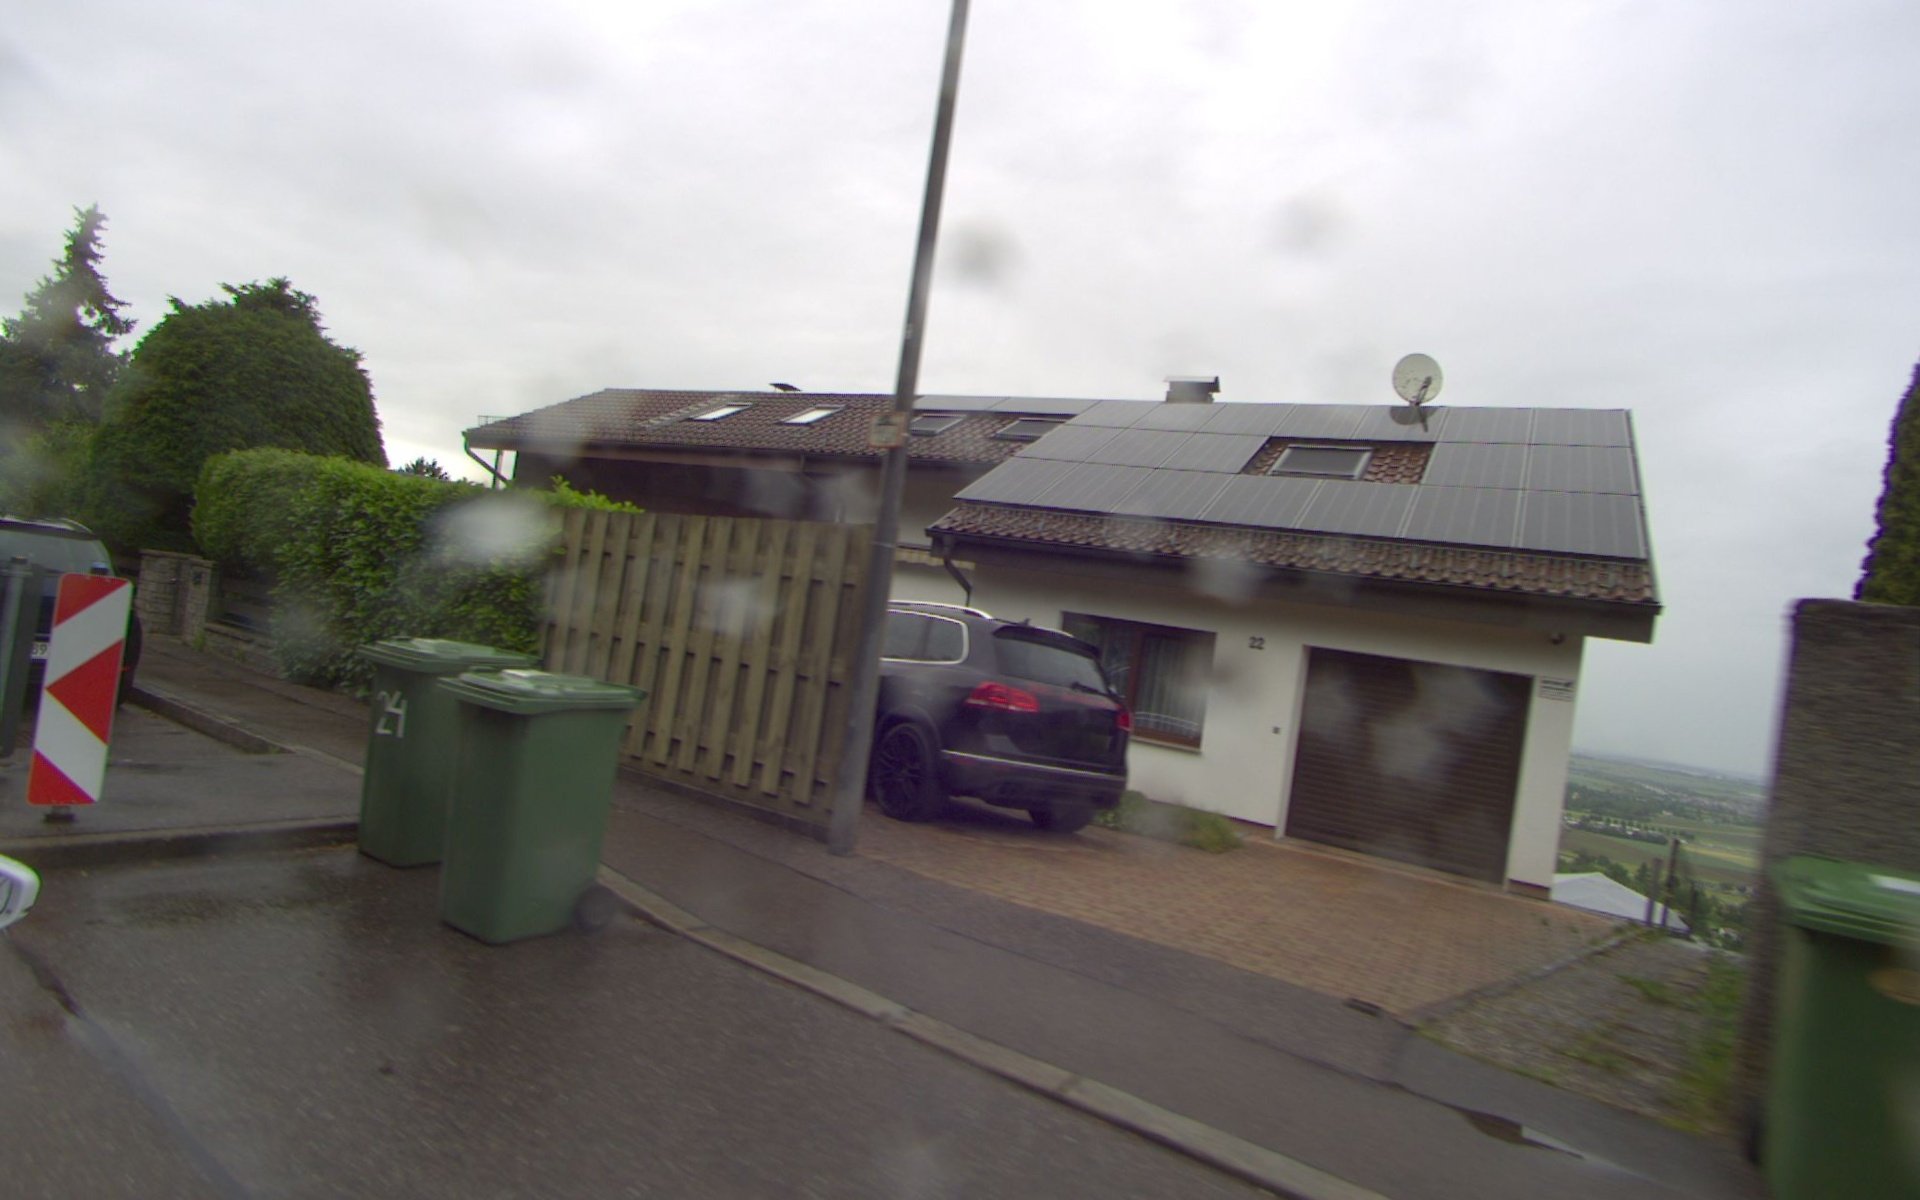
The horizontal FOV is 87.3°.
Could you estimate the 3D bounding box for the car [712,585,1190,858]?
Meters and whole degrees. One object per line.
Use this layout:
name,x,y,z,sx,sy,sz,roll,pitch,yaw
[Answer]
car,-0.354,0.933,9.110,1.986,1.737,4.369,12,-6,-35

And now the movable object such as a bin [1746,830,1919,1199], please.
movable object such as a bin,2.841,1.353,3.058,0.591,1.102,0.738,7,1,37

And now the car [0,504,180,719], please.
car,-8.397,-0.117,8.312,4.232,1.478,1.759,7,-3,35

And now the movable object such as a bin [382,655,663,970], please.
movable object such as a bin,-1.832,0.847,4.258,0.645,1.108,0.717,7,-2,30

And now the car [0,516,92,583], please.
car,-25.189,-1.480,25.858,4.207,1.429,1.919,11,-6,-43

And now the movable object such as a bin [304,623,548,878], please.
movable object such as a bin,-2.656,0.725,5.041,0.650,1.090,0.730,7,-2,33
